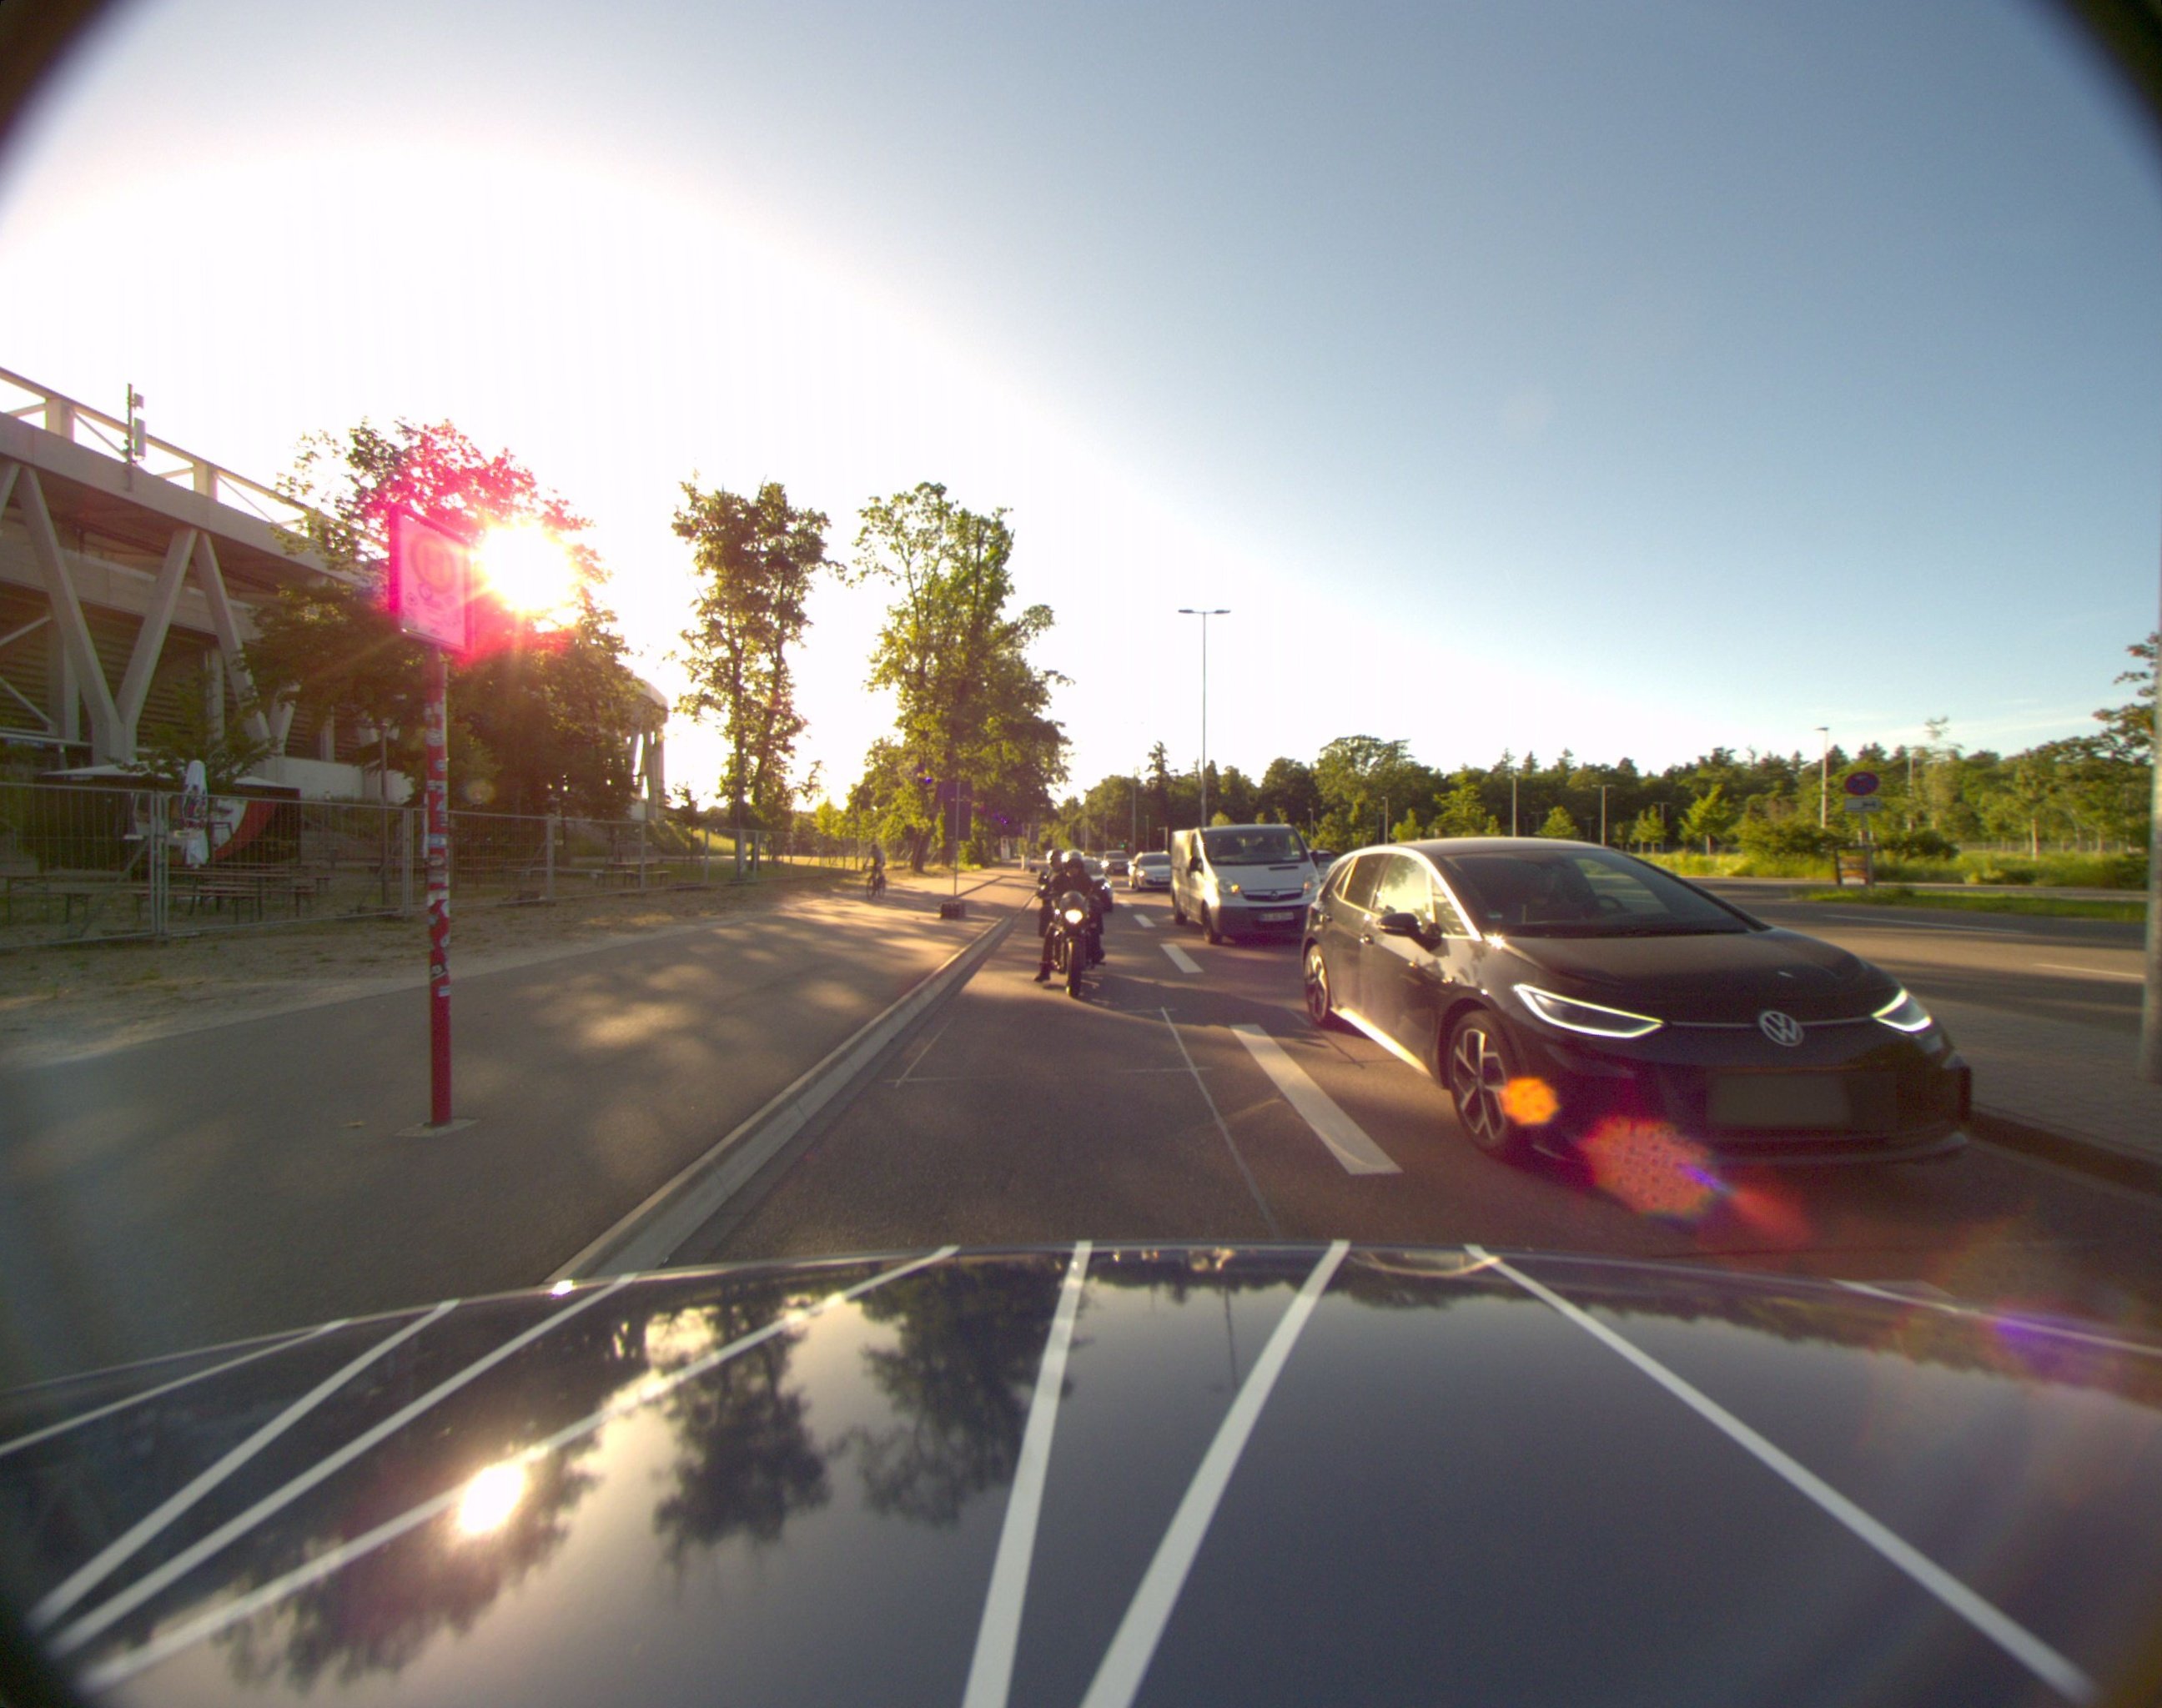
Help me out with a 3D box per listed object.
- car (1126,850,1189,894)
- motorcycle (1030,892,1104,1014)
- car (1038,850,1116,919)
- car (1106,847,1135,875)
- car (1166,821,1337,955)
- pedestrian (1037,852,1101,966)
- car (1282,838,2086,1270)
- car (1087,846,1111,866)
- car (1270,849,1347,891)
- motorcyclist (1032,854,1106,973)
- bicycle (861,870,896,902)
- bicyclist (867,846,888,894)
[{"bbox_3d":[2.900,0.659,30.011,1.883,1.515,5.048,-2,0,0],"label":"car"},{"bbox_3d":[-0.129,1.088,9.137,0.717,1.058,2.721,-2,1,1],"label":"motorcycle"},{"bbox_3d":[-0.116,0.767,21.510,1.883,1.629,5.048,-2,0,0],"label":"car"},{"bbox_3d":[2.492,0.423,48.947,1.638,1.674,3.999,-2,1,1],"label":"car"},{"bbox_3d":[2.850,0.512,13.953,1.883,1.951,5.048,-2,0,0],"label":"car"},{"bbox_3d":[-0.148,0.682,9.724,0.739,1.387,0.500,-2,1,0],"label":"pedestrian"},{"bbox_3d":[2.782,0.716,4.819,1.883,1.528,3.999,-2,1,0],"label":"car"},{"bbox_3d":[1.589,0.187,67.693,1.883,1.629,5.048,-2,0,0],"label":"car"},{"bbox_3d":[8.402,0.547,28.399,1.604,1.388,3.842,-2,1,-1],"label":"car"},{"bbox_3d":[-0.141,0.701,9.205,0.822,1.367,0.476,-2,1,0],"label":"motorcyclist"},{"bbox_3d":[-5.967,0.927,22.470,0.481,0.854,1.909,0,1,1],"label":"bicycle"},{"bbox_3d":[-5.998,0.464,22.463,0.451,1.412,0.575,0,1,1],"label":"bicyclist"}]
